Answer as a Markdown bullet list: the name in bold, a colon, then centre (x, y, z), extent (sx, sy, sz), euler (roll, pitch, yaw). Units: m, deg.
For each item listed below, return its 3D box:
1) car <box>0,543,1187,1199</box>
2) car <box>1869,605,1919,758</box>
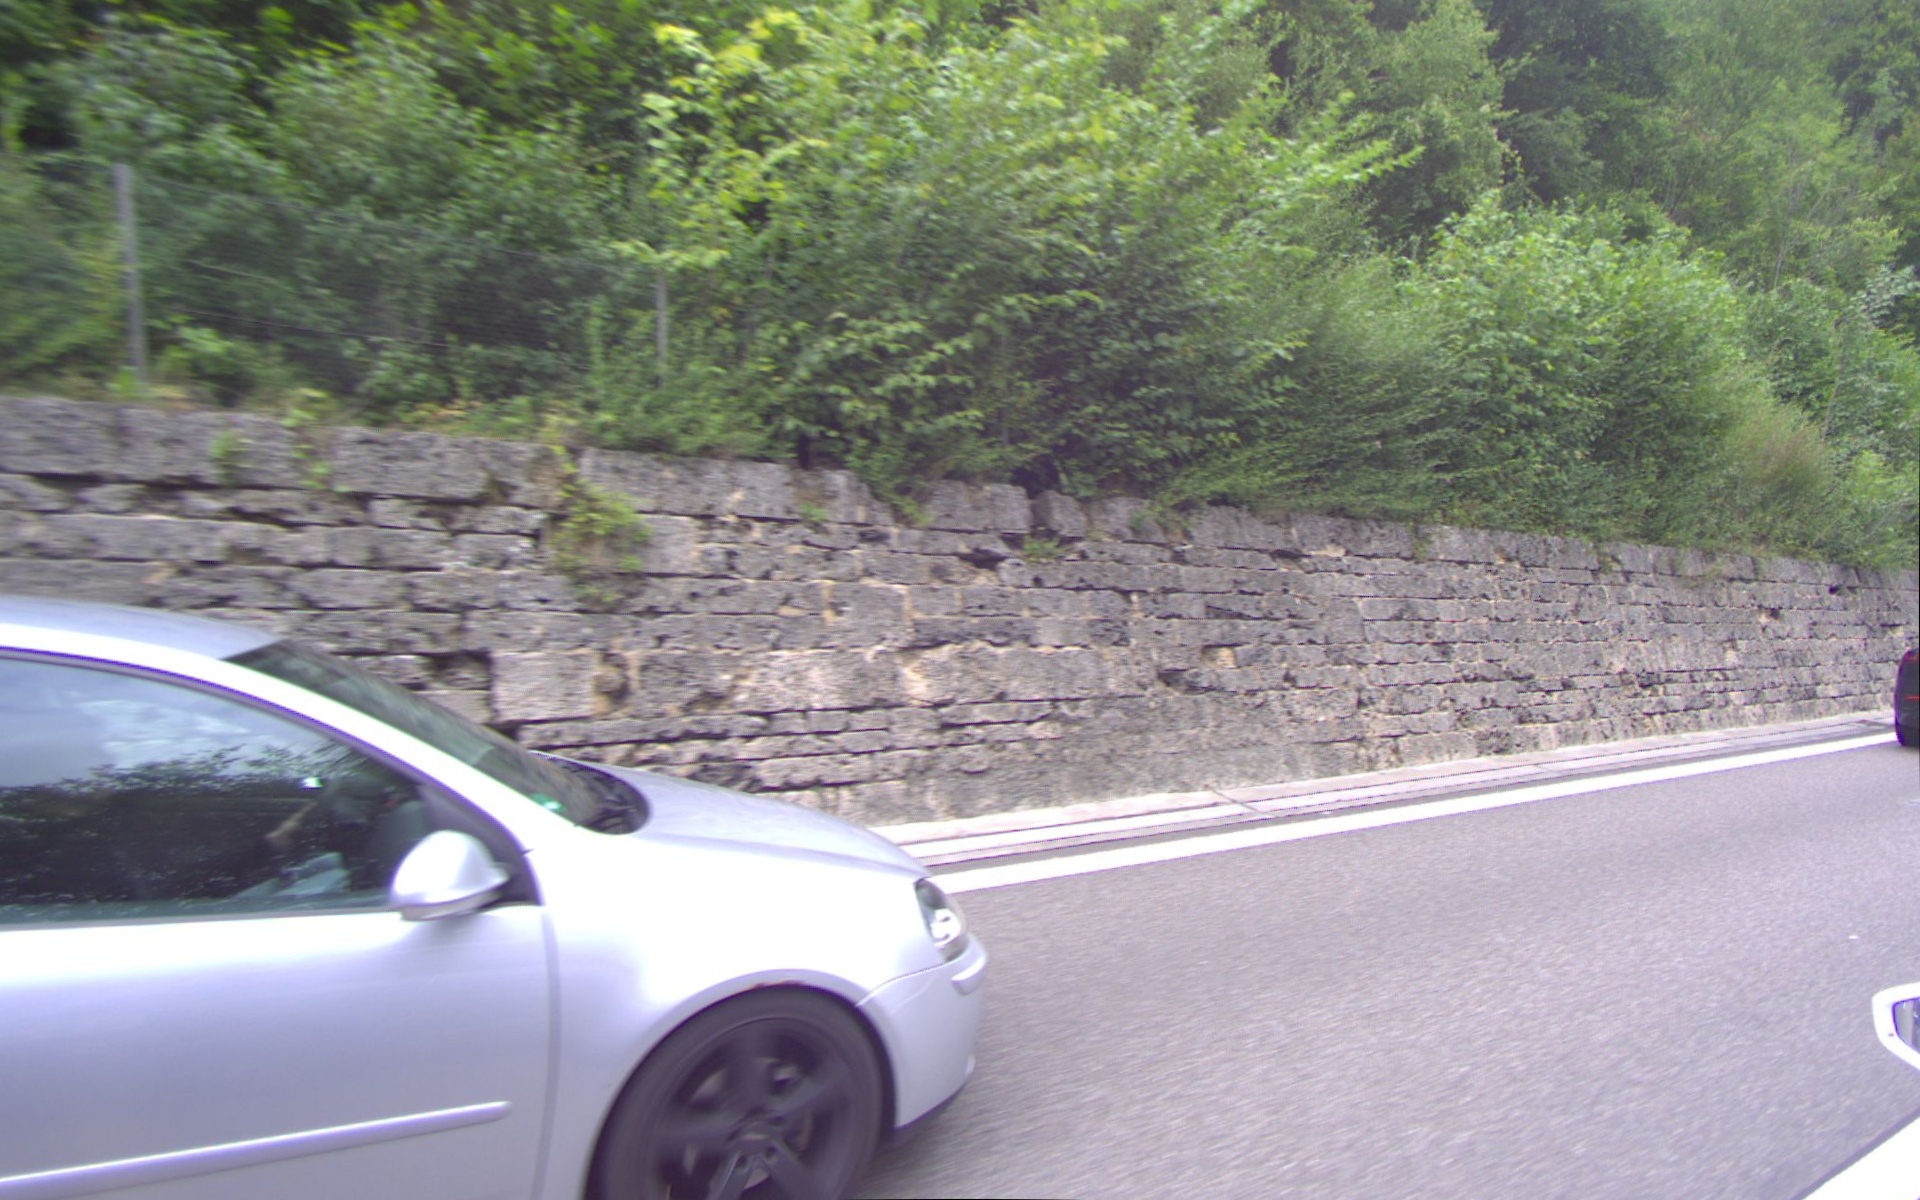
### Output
- **car**: centre (-1.778, 0.665, 2.236), extent (4.530, 1.535, 1.673), euler (1, 1, -31)
- **car**: centre (12.697, 0.910, 11.718), extent (4.956, 1.654, 1.982), euler (1, -1, -34)
